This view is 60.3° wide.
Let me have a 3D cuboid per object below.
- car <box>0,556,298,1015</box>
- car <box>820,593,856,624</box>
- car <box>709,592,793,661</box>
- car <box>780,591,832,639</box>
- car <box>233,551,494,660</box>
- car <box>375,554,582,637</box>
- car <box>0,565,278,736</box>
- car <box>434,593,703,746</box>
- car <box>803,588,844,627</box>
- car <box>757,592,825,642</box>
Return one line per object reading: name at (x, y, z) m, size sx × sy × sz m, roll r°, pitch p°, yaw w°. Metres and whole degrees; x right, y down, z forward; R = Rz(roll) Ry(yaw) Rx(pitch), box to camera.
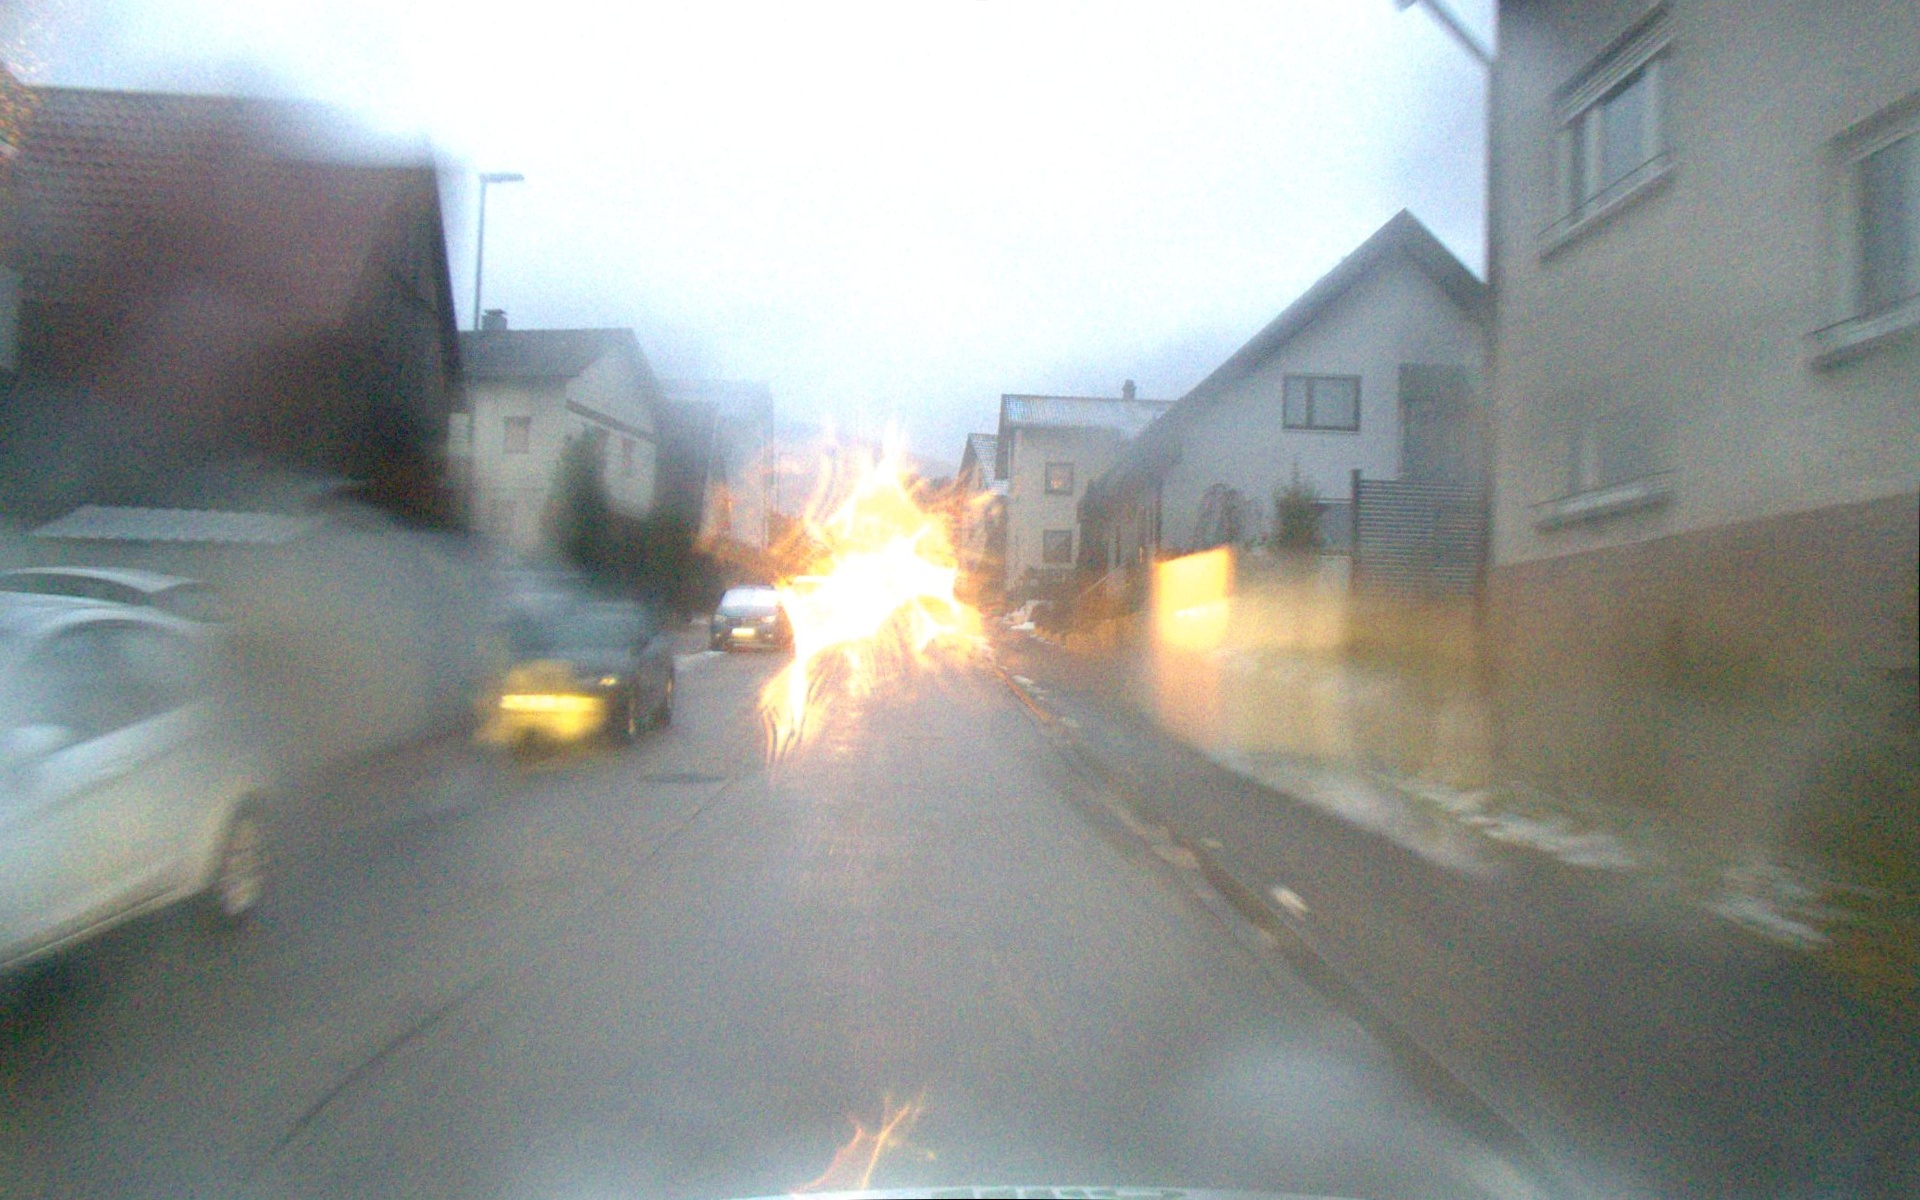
car at (-3.873, 0.596, 5.953) m, size 1.586 × 1.464 × 3.655 m, roll 0°, pitch -1°, yaw -2°
car at (-7.245, 0.508, 98.668) m, size 1.953 × 1.679 × 3.998 m, roll -2°, pitch -1°, yaw -2°
car at (-5.110, 0.641, 40.799) m, size 1.650 × 1.612 × 4.174 m, roll 0°, pitch -1°, yaw -2°
car at (-6.133, 0.581, 66.200) m, size 1.789 × 1.867 × 4.343 m, roll 0°, pitch 0°, yaw -2°
car at (-10.698, 0.105, 29.869) m, size 3.904 × 1.777 × 2.000 m, roll 2°, pitch 0°, yaw 2°
car at (-10.496, -0.098, 36.267) m, size 3.904 × 1.646 × 1.889 m, roll 2°, pitch 0°, yaw 2°
car at (-8.925, 0.458, 16.554) m, size 3.392 × 1.555 × 1.774 m, roll 2°, pitch 0°, yaw 2°
car at (-4.039, 0.681, 17.967) m, size 1.840 × 1.419 × 5.073 m, roll 0°, pitch -1°, yaw -2°
car at (-6.620, 0.343, 80.626) m, size 1.954 × 1.832 × 3.997 m, roll 0°, pitch 0°, yaw -4°
car at (-5.368, 0.504, 52.844) m, size 1.757 × 1.530 × 4.309 m, roll 0°, pitch 0°, yaw 0°
